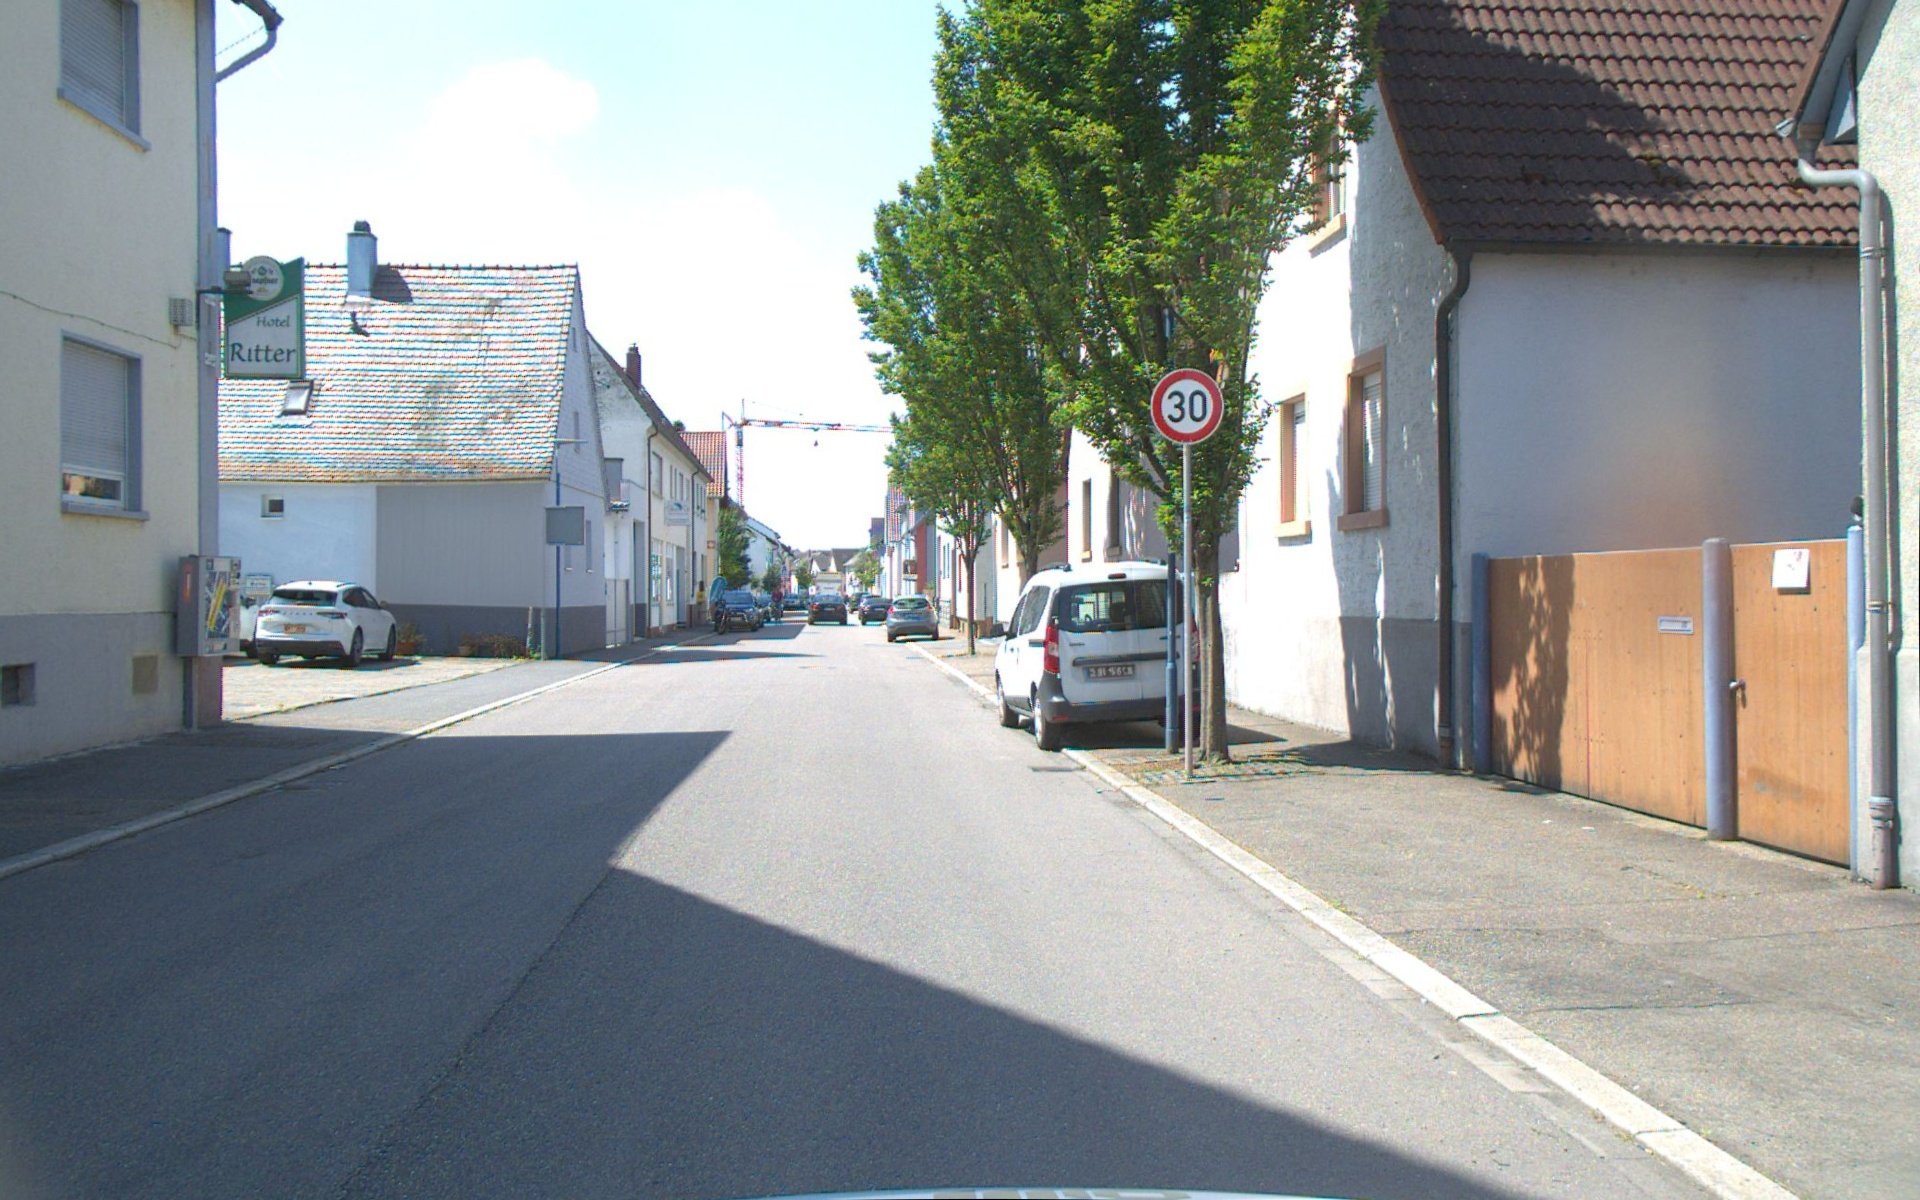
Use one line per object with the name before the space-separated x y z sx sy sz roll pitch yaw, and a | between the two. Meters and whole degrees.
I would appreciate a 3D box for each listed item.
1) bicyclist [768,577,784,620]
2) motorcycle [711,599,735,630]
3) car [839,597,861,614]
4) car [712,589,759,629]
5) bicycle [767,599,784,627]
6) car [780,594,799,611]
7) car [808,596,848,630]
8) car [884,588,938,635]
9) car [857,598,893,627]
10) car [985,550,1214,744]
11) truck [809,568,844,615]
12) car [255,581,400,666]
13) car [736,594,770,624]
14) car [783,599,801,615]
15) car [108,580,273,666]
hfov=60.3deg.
bicyclist | -8.980 -0.078 80.768 0.726 2.095 0.843 1 -1 -6
motorcycle | -9.225 0.560 64.418 0.830 1.190 2.466 1 -1 -6
car | -8.762 0.414 131.529 1.686 1.291 4.152 0 0 -5
car | -9.253 0.363 68.329 1.774 1.617 3.995 0 0 -5
bicycle | -8.987 0.644 80.627 0.736 1.331 2.682 1 -1 -5
car | -16.804 0.209 162.896 1.774 1.617 3.996 0 0 -5
car | -6.396 0.595 80.550 1.864 1.591 4.473 0 0 -4
car | -1.639 0.348 54.568 1.685 1.487 4.154 0 0 -3
car | -4.285 0.604 82.793 1.686 1.379 4.152 0 0 -5
car | 1.386 0.438 18.049 1.687 1.821 4.138 -2 0 -6
truck | -12.854 -0.769 159.564 3.082 4.325 9.295 1 0 -3
car | -12.667 0.439 33.362 1.686 1.583 4.193 1 0 -6
car | -11.652 0.490 93.085 1.774 1.617 3.995 0 0 -5
car | -17.211 0.698 169.501 1.774 1.617 3.995 0 0 -5
car | -15.230 0.425 32.960 1.686 1.583 4.193 1 0 -6
